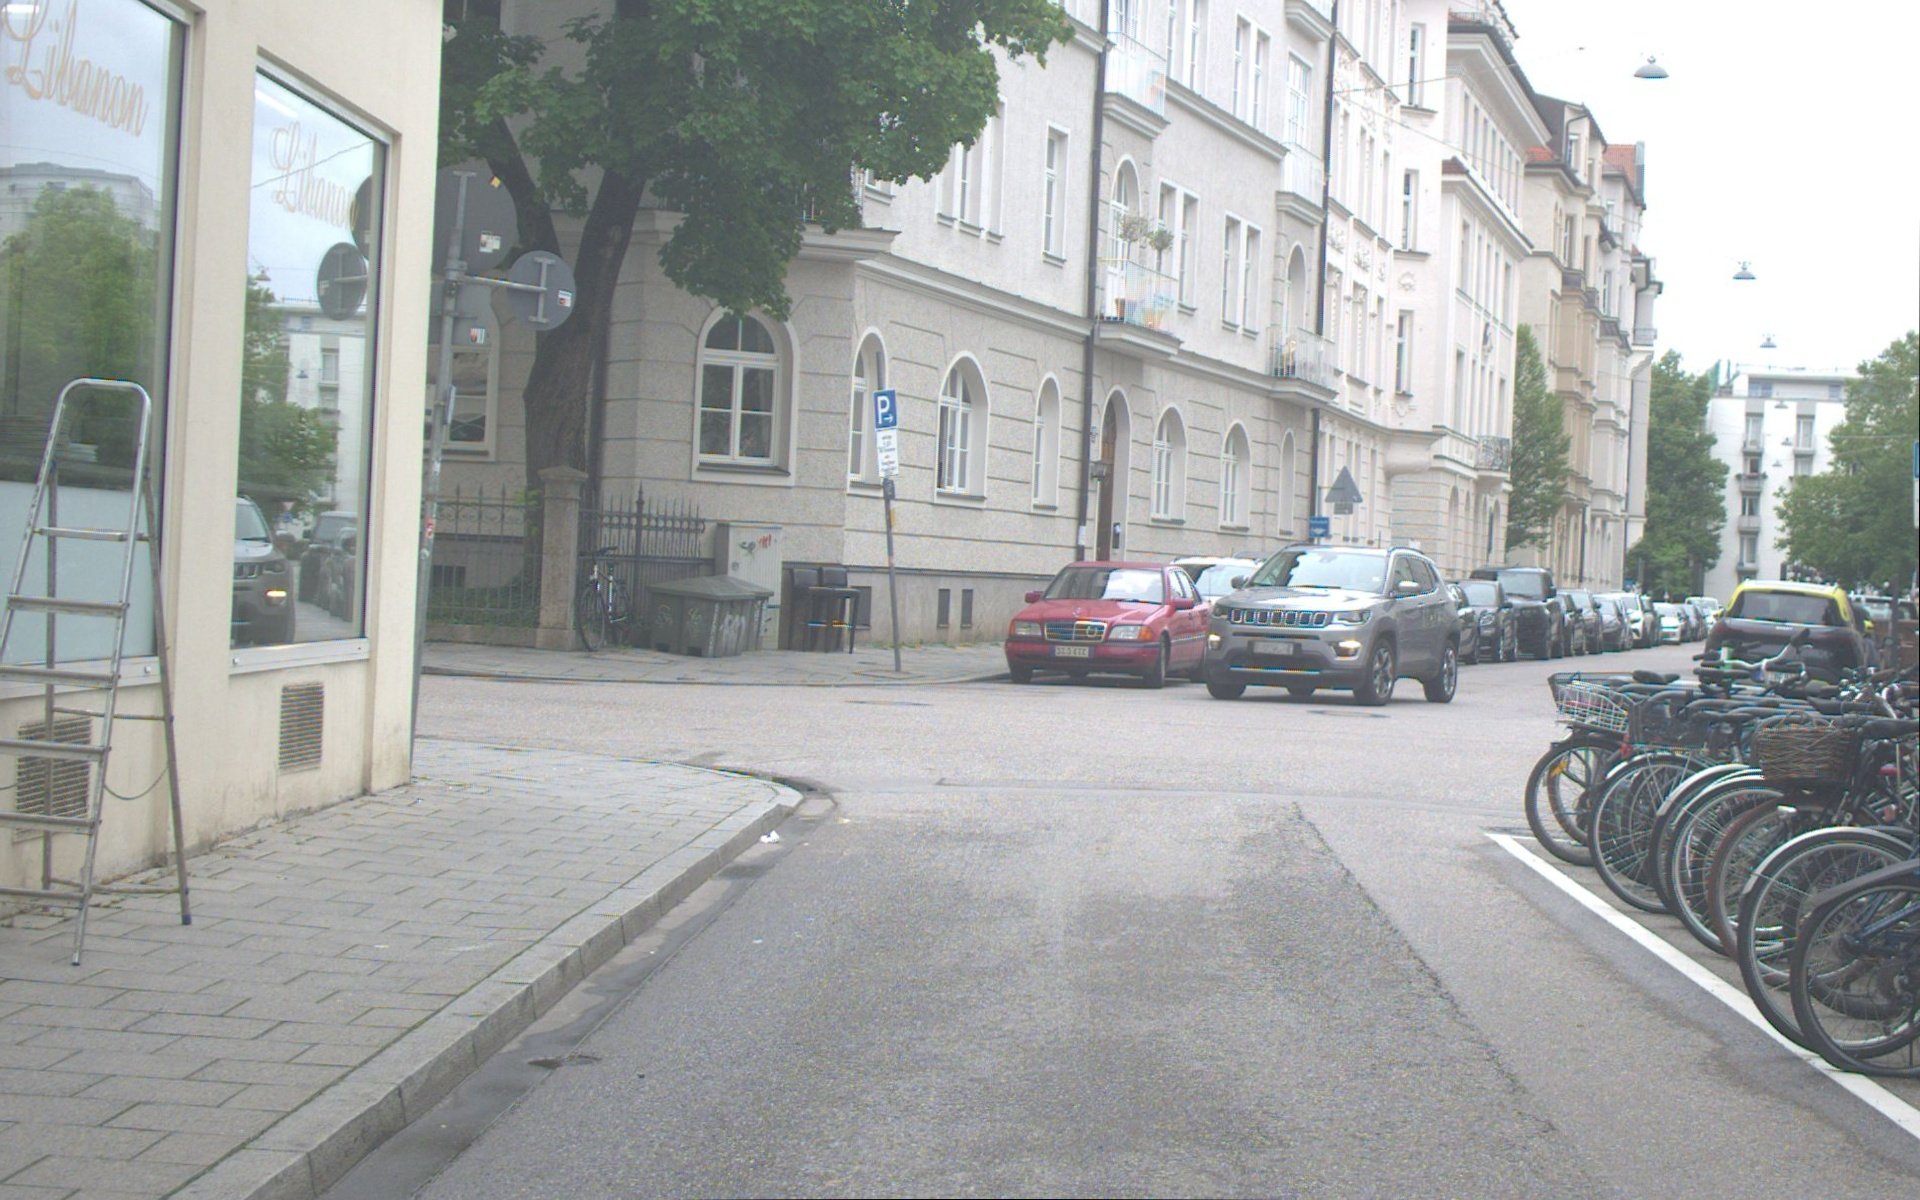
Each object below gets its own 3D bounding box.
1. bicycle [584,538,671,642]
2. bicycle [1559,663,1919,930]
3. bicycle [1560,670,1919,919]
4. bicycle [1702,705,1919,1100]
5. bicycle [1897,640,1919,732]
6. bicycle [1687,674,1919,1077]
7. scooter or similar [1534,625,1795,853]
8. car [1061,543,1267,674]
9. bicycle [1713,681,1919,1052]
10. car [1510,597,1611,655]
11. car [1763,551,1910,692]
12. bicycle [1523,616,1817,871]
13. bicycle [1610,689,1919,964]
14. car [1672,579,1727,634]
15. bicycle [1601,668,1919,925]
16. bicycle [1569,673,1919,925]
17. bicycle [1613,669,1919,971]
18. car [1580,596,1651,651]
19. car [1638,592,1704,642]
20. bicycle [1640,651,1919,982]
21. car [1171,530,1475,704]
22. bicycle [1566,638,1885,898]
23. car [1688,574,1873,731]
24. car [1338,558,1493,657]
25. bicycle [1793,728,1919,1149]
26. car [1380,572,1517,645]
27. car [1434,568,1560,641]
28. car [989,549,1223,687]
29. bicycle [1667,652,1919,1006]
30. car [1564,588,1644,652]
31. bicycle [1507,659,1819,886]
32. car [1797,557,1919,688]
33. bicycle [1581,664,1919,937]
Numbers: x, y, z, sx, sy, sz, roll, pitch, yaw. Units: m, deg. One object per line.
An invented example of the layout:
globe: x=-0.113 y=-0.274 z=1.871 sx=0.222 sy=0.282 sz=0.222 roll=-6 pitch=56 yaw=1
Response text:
bicycle: x=-3.672 y=-0.123 z=38.058 sx=0.493 sy=1.049 sz=1.826 roll=3 pitch=3 yaw=8
bicycle: x=3.687 y=0.882 z=15.393 sx=1.873 sy=1.076 sz=0.408 roll=3 pitch=2 yaw=0
bicycle: x=3.843 y=0.935 z=16.626 sx=1.740 sy=1.076 sz=0.452 roll=3 pitch=2 yaw=0
bicycle: x=3.292 y=0.961 z=10.462 sx=1.874 sy=1.104 sz=0.488 roll=5 pitch=2 yaw=1
bicycle: x=10.826 y=0.957 z=37.481 sx=0.539 sy=0.995 sz=1.756 roll=0 pitch=1 yaw=-7
bicycle: x=3.345 y=0.902 z=10.980 sx=1.874 sy=1.200 sz=0.488 roll=3 pitch=2 yaw=1
scooter or similar: x=4.019 y=0.787 z=19.660 sx=1.353 sy=1.206 sz=0.417 roll=3 pitch=1 yaw=5
car: x=2.635 y=0.093 z=43.570 sx=1.994 sy=1.468 sz=4.216 roll=3 pitch=1 yaw=11
bicycle: x=3.596 y=0.944 z=11.650 sx=1.874 sy=1.153 sz=0.565 roll=5 pitch=2 yaw=1
car: x=14.111 y=0.598 z=80.688 sx=1.908 sy=1.218 sz=3.997 roll=4 pitch=1 yaw=15
car: x=13.190 y=0.310 z=51.596 sx=1.821 sy=1.864 sz=4.285 roll=6 pitch=1 yaw=16
bicycle: x=3.884 y=0.776 z=18.869 sx=1.457 sy=1.281 sz=0.445 roll=4 pitch=1 yaw=4
bicycle: x=3.710 y=0.946 z=14.253 sx=1.873 sy=1.048 sz=0.564 roll=3 pitch=-1 yaw=0
car: x=29.117 y=0.260 z=135.325 sx=1.847 sy=2.007 sz=3.997 roll=3 pitch=1 yaw=14
bicycle: x=3.823 y=0.903 z=15.826 sx=1.612 sy=1.076 sz=0.378 roll=3 pitch=2 yaw=0
bicycle: x=3.769 y=0.935 z=16.215 sx=1.674 sy=1.076 sz=0.336 roll=3 pitch=2 yaw=0
bicycle: x=3.586 y=0.880 z=13.555 sx=1.873 sy=1.091 sz=0.440 roll=3 pitch=2 yaw=0
car: x=18.627 y=0.644 z=97.623 sx=1.735 sy=1.415 sz=3.998 roll=3 pitch=1 yaw=13
car: x=24.457 y=0.586 z=118.129 sx=1.995 sy=1.568 sz=3.997 roll=3 pitch=1 yaw=14
bicycle: x=3.603 y=0.828 z=13.010 sx=1.893 sy=1.166 sz=0.566 roll=3 pitch=1 yaw=0
car: x=3.845 y=0.167 z=35.744 sx=1.959 sy=1.602 sz=4.304 roll=3 pitch=1 yaw=22
bicycle: x=3.870 y=0.846 z=17.408 sx=1.451 sy=1.203 sz=0.395 roll=4 pitch=1 yaw=-5
car: x=9.977 y=0.607 z=41.588 sx=1.821 sy=1.630 sz=4.285 roll=6 pitch=1 yaw=16
car: x=7.922 y=0.122 z=59.546 sx=1.927 sy=1.541 sz=3.997 roll=4 pitch=1 yaw=17
bicycle: x=3.323 y=0.990 z=9.409 sx=1.874 sy=1.076 sz=0.488 roll=5 pitch=2 yaw=1
car: x=9.249 y=0.152 z=64.842 sx=1.908 sy=1.218 sz=3.997 roll=4 pitch=1 yaw=17
car: x=10.862 y=0.092 z=69.378 sx=1.908 sy=1.324 sz=3.997 roll=4 pitch=1 yaw=17
car: x=1.714 y=0.193 z=38.964 sx=1.732 sy=1.373 sz=4.224 roll=3 pitch=1 yaw=14
bicycle: x=3.566 y=0.831 z=12.383 sx=1.874 sy=1.200 sz=0.580 roll=2 pitch=1 yaw=1
car: x=17.219 y=0.527 z=91.834 sx=1.821 sy=1.568 sz=3.997 roll=3 pitch=1 yaw=14
bicycle: x=3.648 y=0.892 z=17.872 sx=1.451 sy=1.066 sz=0.463 roll=4 pitch=1 yaw=-5
car: x=14.830 y=0.358 z=56.350 sx=1.821 sy=1.917 sz=4.180 roll=6 pitch=1 yaw=16
bicycle: x=3.705 y=0.879 z=14.952 sx=1.873 sy=1.076 sz=0.402 roll=3 pitch=2 yaw=0
